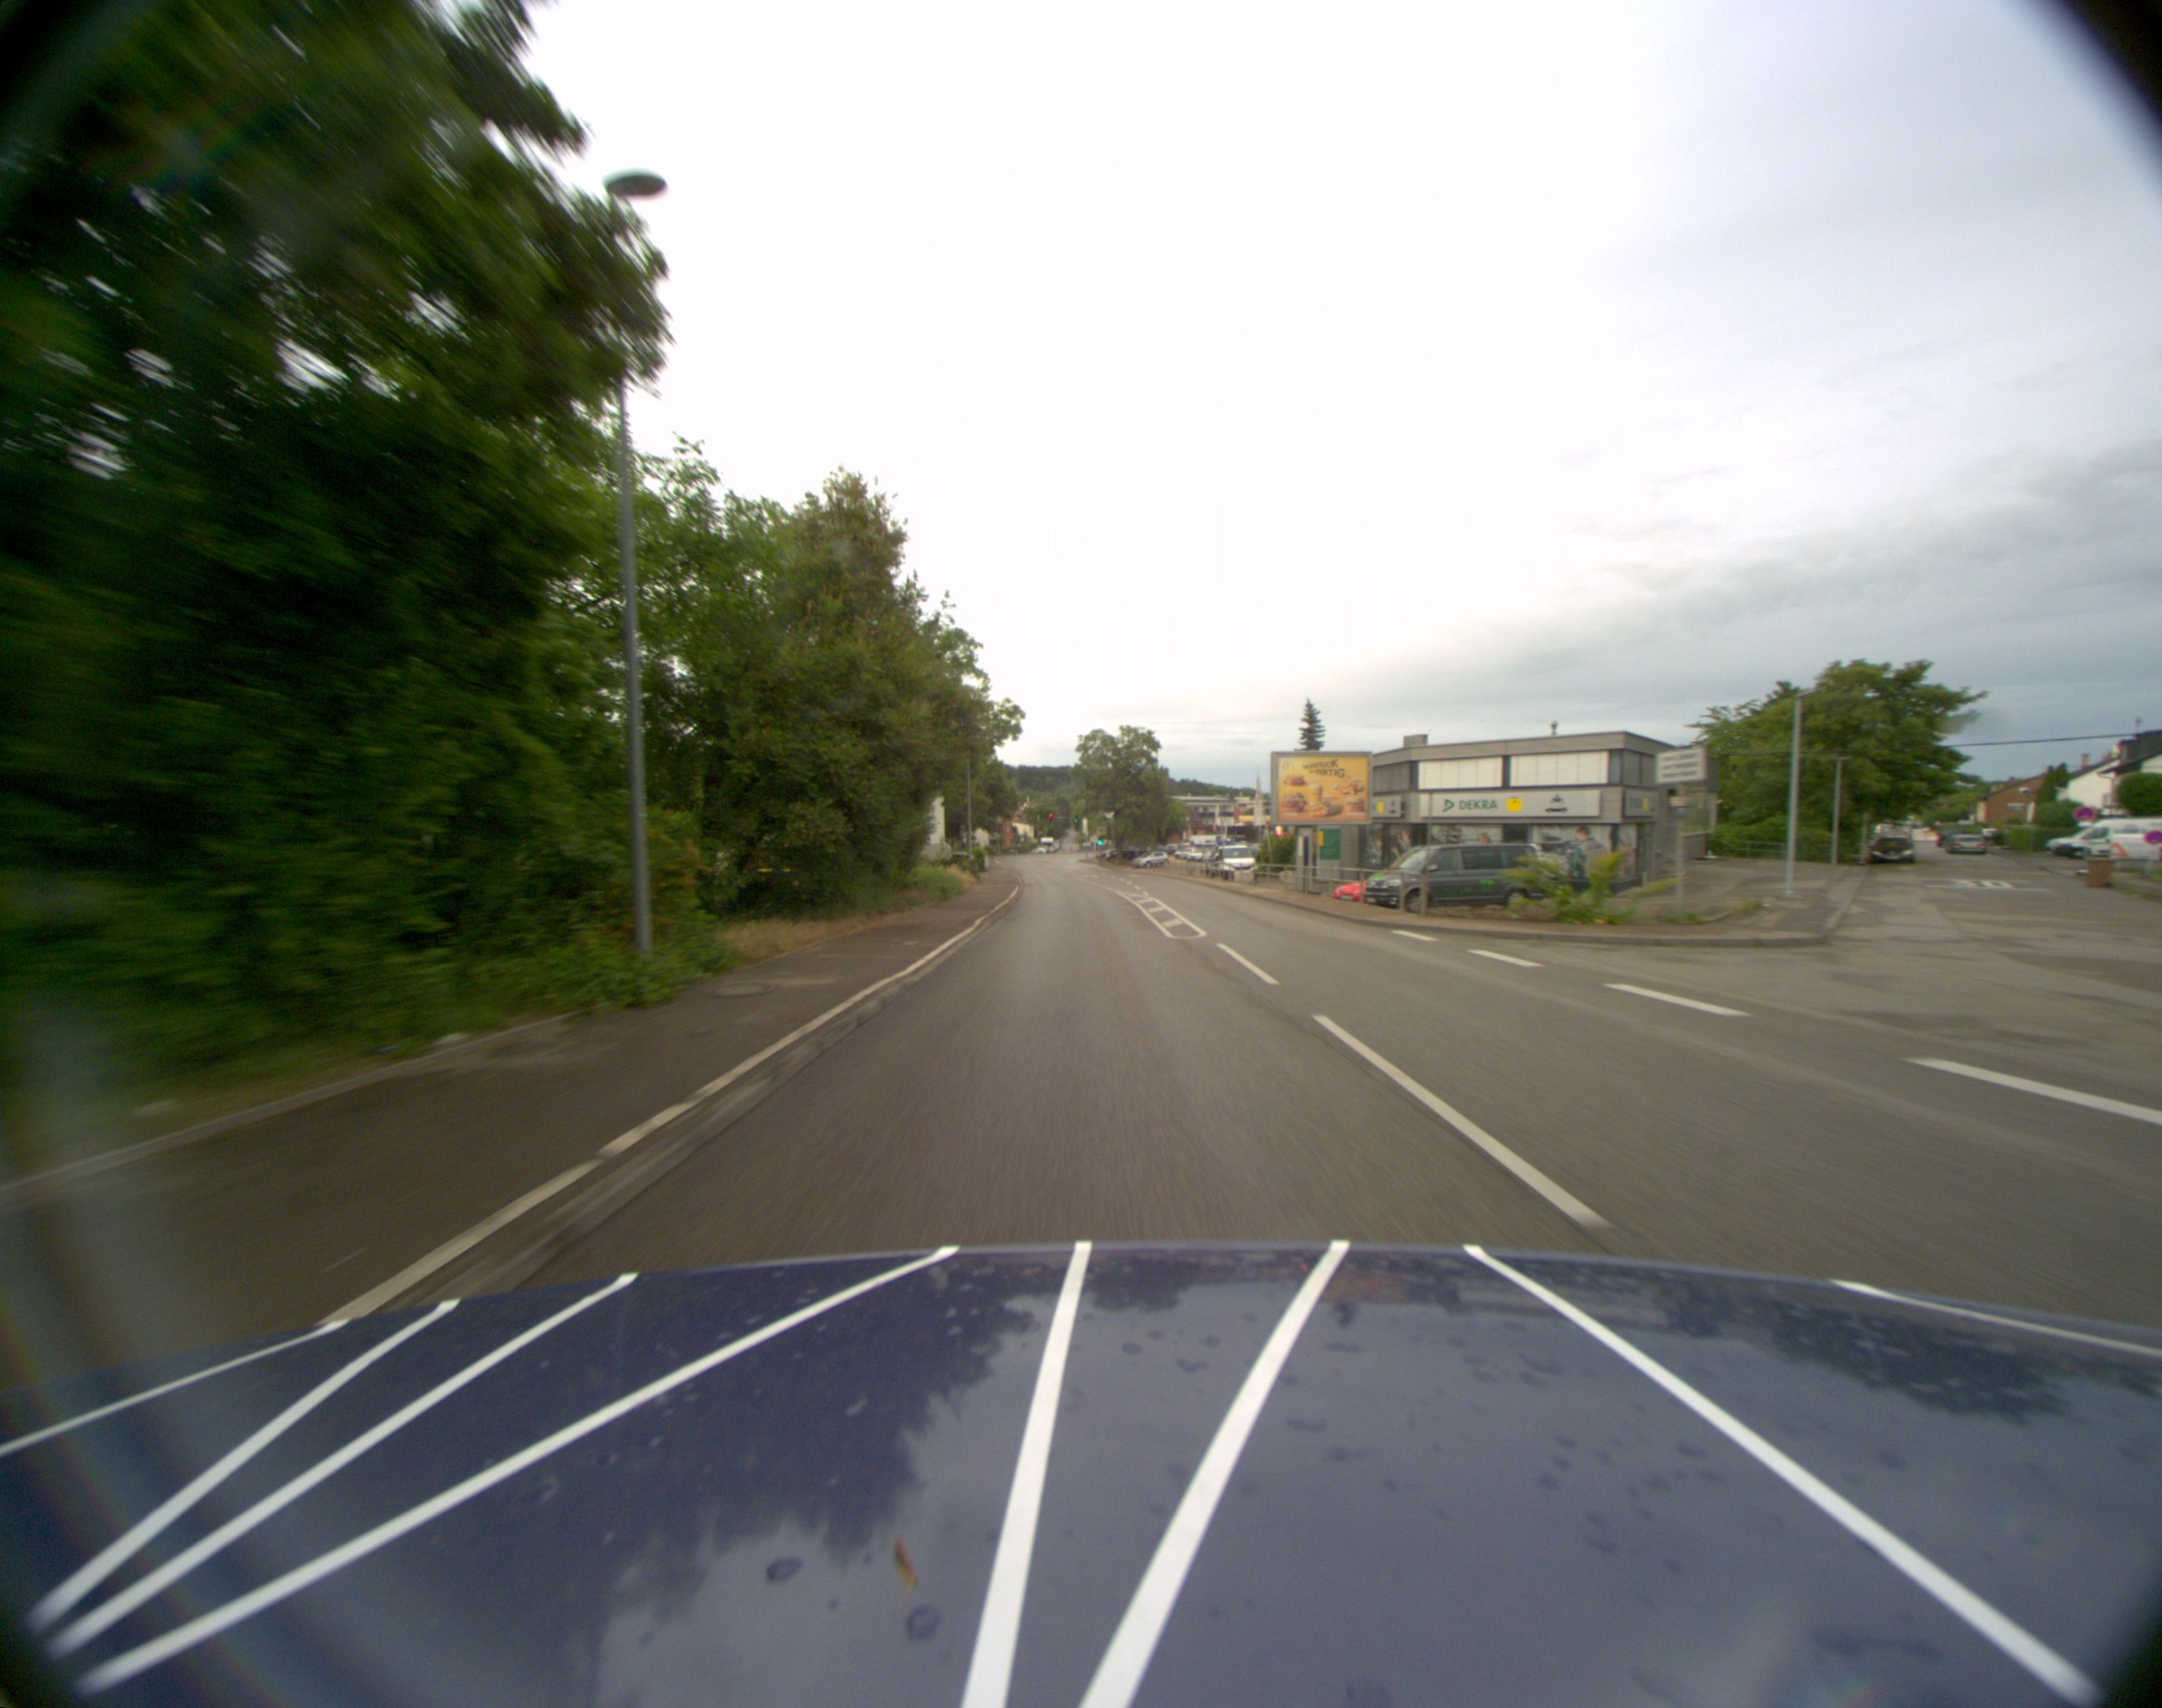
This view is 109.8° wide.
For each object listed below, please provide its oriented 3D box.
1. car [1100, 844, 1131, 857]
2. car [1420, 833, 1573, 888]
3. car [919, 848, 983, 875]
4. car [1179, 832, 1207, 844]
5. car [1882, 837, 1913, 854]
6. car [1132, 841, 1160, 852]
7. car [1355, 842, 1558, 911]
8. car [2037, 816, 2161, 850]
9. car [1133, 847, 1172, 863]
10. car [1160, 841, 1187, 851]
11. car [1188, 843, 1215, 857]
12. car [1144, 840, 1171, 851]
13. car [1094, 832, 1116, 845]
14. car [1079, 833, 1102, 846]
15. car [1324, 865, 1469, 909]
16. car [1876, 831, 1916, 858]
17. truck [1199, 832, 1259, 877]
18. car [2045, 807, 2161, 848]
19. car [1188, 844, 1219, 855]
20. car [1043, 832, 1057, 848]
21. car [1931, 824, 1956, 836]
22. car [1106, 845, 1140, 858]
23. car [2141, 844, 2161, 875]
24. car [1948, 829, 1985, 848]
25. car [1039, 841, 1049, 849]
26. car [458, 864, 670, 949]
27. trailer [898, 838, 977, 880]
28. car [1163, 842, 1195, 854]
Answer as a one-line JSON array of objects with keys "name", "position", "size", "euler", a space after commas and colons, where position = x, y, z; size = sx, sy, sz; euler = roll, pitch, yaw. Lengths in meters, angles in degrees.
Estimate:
[{"name": "car", "position": [4.313, -0.469, 96.066], "size": [3.767, 1.559, 1.671], "euler": [0, 2, -2]}, {"name": "car", "position": [16.266, 0.233, 29.965], "size": [2.004, 1.976, 4.864], "euler": [-3, 1, -40]}, {"name": "car", "position": [-9.083, 0.503, 53.383], "size": [4.225, 1.740, 1.983], "euler": [-1, 0, -5]}, {"name": "car", "position": [20.284, -2.923, 137.733], "size": [5.266, 2.075, 2.047], "euler": [-1, 2, -39]}, {"name": "car", "position": [59.604, -0.631, 55.503], "size": [1.377, 1.181, 3.069], "euler": [0, 1, 44]}, {"name": "car", "position": [9.353, -1.093, 109.586], "size": [3.763, 1.542, 1.596], "euler": [1, 3, 41]}, {"name": "car", "position": [10.762, 0.594, 21.946], "size": [5.083, 1.860, 1.821], "euler": [0, 1, -7]}, {"name": "car", "position": [68.093, -1.371, 50.759], "size": [2.150, 2.078, 5.086], "euler": [-4, 3, -43]}, {"name": "car", "position": [7.522, 0.083, 79.959], "size": [4.015, 1.561, 1.716], "euler": [-3, 3, -38]}, {"name": "car", "position": [13.907, -1.222, 113.740], "size": [3.763, 1.542, 1.596], "euler": [1, 3, 41]}, {"name": "car", "position": [14.870, -0.511, 93.964], "size": [1.785, 1.501, 4.051], "euler": [1, 2, 33]}, {"name": "car", "position": [11.299, -1.213, 111.873], "size": [3.763, 1.542, 1.596], "euler": [1, 3, 41]}, {"name": "car", "position": [4.488, -2.928, 141.190], "size": [1.774, 2.094, 4.209], "euler": [-3, 6, -39]}, {"name": "car", "position": [1.612, -2.572, 136.900], "size": [1.774, 2.094, 4.370], "euler": [-3, 6, -38]}, {"name": "car", "position": [10.361, 1.054, 25.052], "size": [4.106, 1.260, 1.768], "euler": [0, 1, -11]}, {"name": "car", "position": [48.076, -0.539, 44.853], "size": [1.402, 1.538, 3.221], "euler": [0, 1, 44]}, {"name": "truck", "position": [9.192, -0.013, 47.955], "size": [1.999, 2.618, 7.889], "euler": [0, 1, -2]}, {"name": "car", "position": [63.983, -1.636, 46.583], "size": [2.150, 2.356, 5.861], "euler": [-4, 3, -43]}, {"name": "car", "position": [16.507, -0.655, 102.624], "size": [1.794, 1.444, 4.032], "euler": [-2, 3, -40]}, {"name": "car", "position": [-6.155, -2.779, 152.445], "size": [2.575, 2.759, 6.122], "euler": [1, 5, -1]}, {"name": "car", "position": [87.125, -2.434, 76.779], "size": [1.377, 1.181, 3.069], "euler": [0, 1, 44]}, {"name": "car", "position": [5.164, -0.299, 93.547], "size": [3.895, 1.559, 1.671], "euler": [0, 2, -5]}, {"name": "car", "position": [43.003, 0.192, 28.752], "size": [3.055, 1.181, 1.384], "euler": [0, 1, 26]}, {"name": "car", "position": [68.354, -1.197, 58.699], "size": [1.507, 1.451, 3.443], "euler": [0, 1, 44]}, {"name": "car", "position": [-6.621, -1.617, 135.843], "size": [1.770, 1.460, 3.997], "euler": [0, 2, -4]}, {"name": "car", "position": [-9.697, 0.916, 14.515], "size": [3.156, 1.376, 1.690], "euler": [-1, 1, -30]}, {"name": "trailer", "position": [-8.710, 0.273, 46.128], "size": [4.551, 2.387, 1.946], "euler": [-2, 2, -14]}, {"name": "car", "position": [13.159, -0.834, 102.296], "size": [1.794, 1.444, 4.032], "euler": [-2, 3, -40]}]
